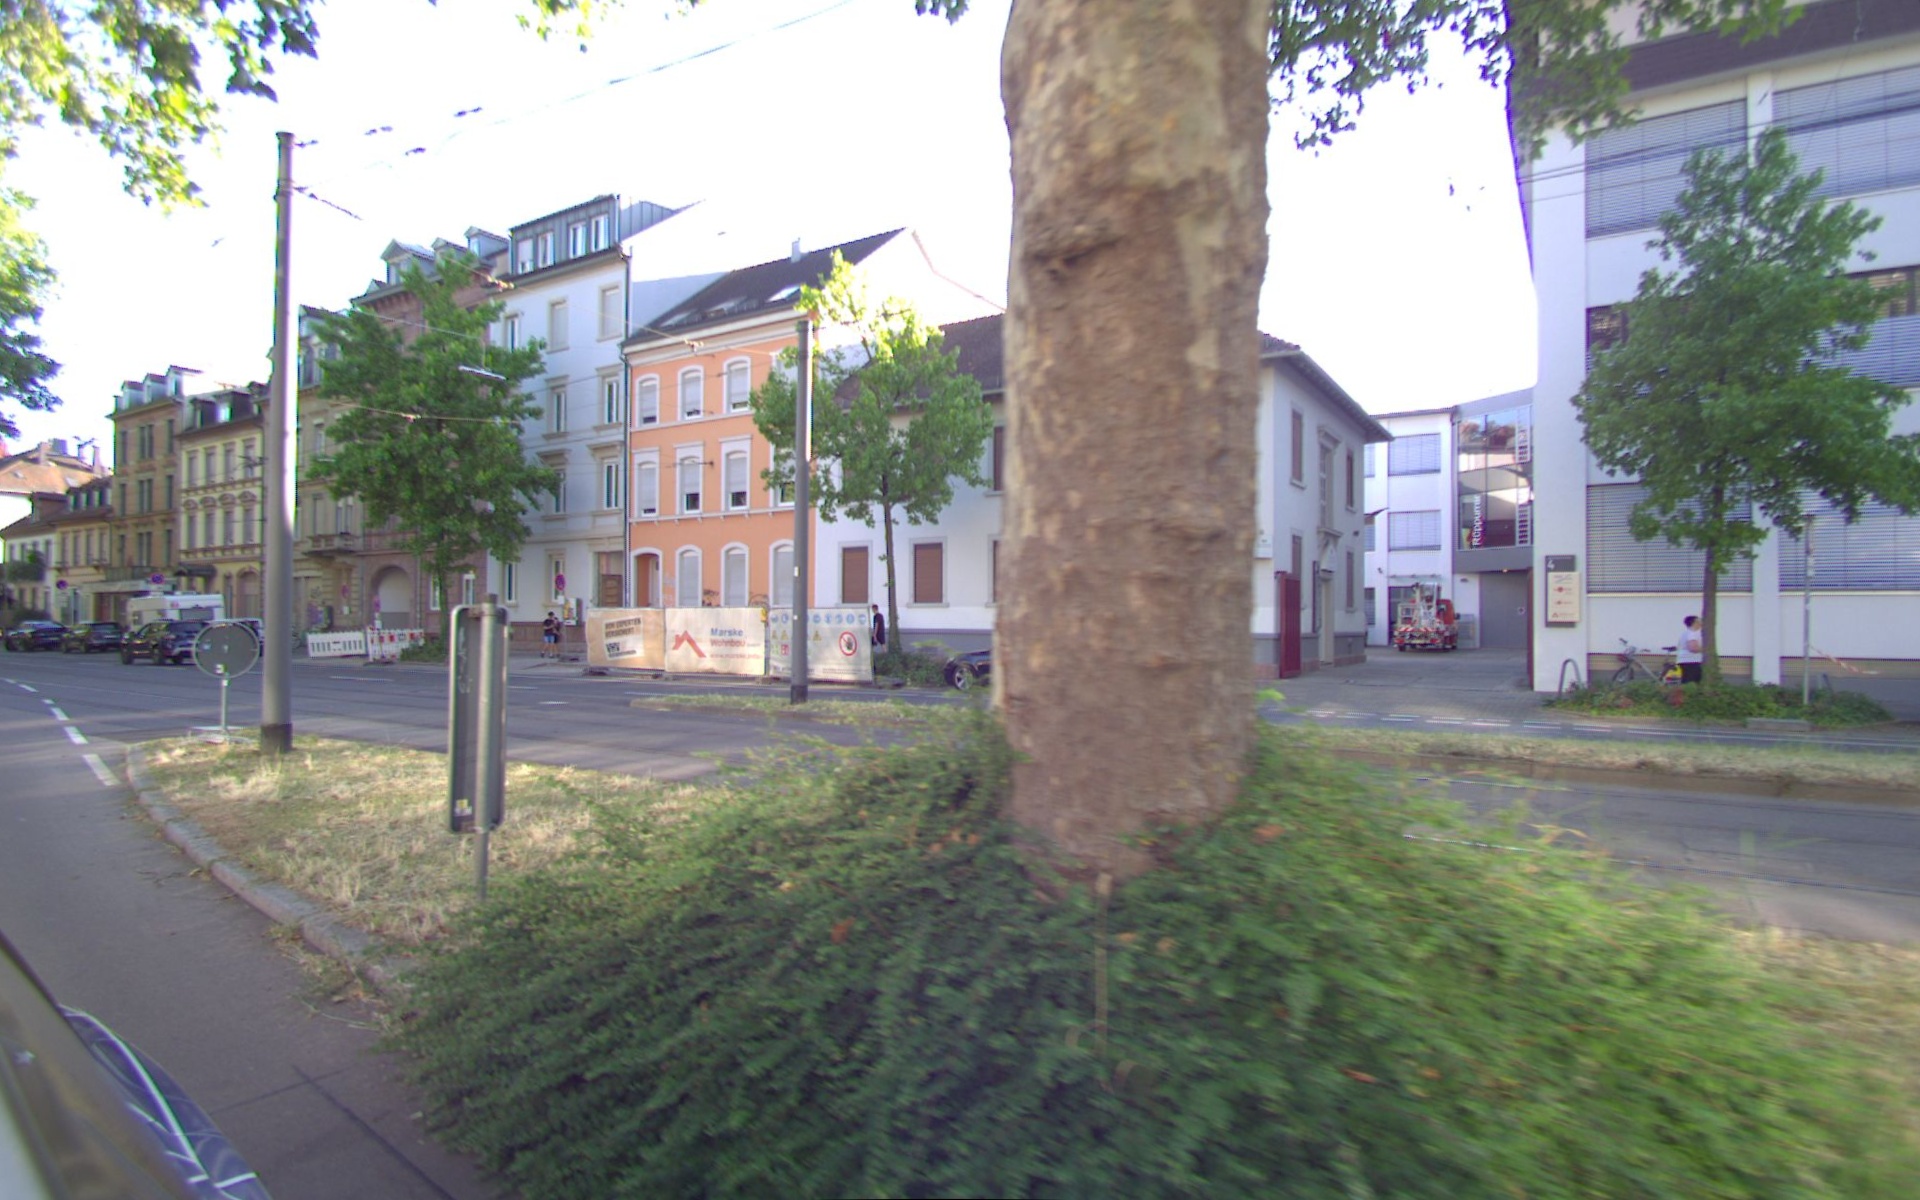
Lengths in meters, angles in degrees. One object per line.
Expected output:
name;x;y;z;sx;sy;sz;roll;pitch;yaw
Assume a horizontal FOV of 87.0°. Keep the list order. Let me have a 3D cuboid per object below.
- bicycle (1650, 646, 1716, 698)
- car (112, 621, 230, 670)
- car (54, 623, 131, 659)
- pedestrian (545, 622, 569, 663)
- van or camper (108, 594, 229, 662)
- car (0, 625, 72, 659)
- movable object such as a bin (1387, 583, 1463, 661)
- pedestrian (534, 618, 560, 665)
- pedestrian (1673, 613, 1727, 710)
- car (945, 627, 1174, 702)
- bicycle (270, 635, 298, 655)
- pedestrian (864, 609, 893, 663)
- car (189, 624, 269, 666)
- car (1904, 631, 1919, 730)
bicycle;14.286;1.414;20.008;1.015;1.010;0.300;-1;-3;32
car;-28.601;1.615;36.663;4.295;1.702;1.978;-1;-2;32
car;-45.351;2.118;52.881;4.429;1.718;1.797;-1;1;32
pedestrian;-14.722;1.532;36.991;0.605;1.472;0.571;-1;0;32
van or camper;-37.527;1.285;47.881;7.233;2.969;2.399;-1;1;35
car;-52.060;2.327;56.876;4.735;1.715;1.978;-1;1;32
movable object such as a bin;19.919;0.855;43.182;2.280;3.026;6.053;-1;1;31
pedestrian;-14.800;1.479;36.289;0.685;1.666;0.563;-1;0;32
pedestrian;12.916;1.052;17.676;0.730;1.633;0.629;-1;-1;37
car;2.172;1.364;22.539;4.710;1.525;1.978;-1;-2;33
bicycle;-33.399;2.220;49.985;1.788;0.931;0.573;-1;-2;36
pedestrian;-2.416;1.071;29.940;0.637;1.582;0.589;-1;-2;31
car;-32.209;1.935;44.560;3.358;1.718;1.619;-1;1;30
car;16.142;1.171;13.823;4.390;1.482;1.978;-1;-2;32
